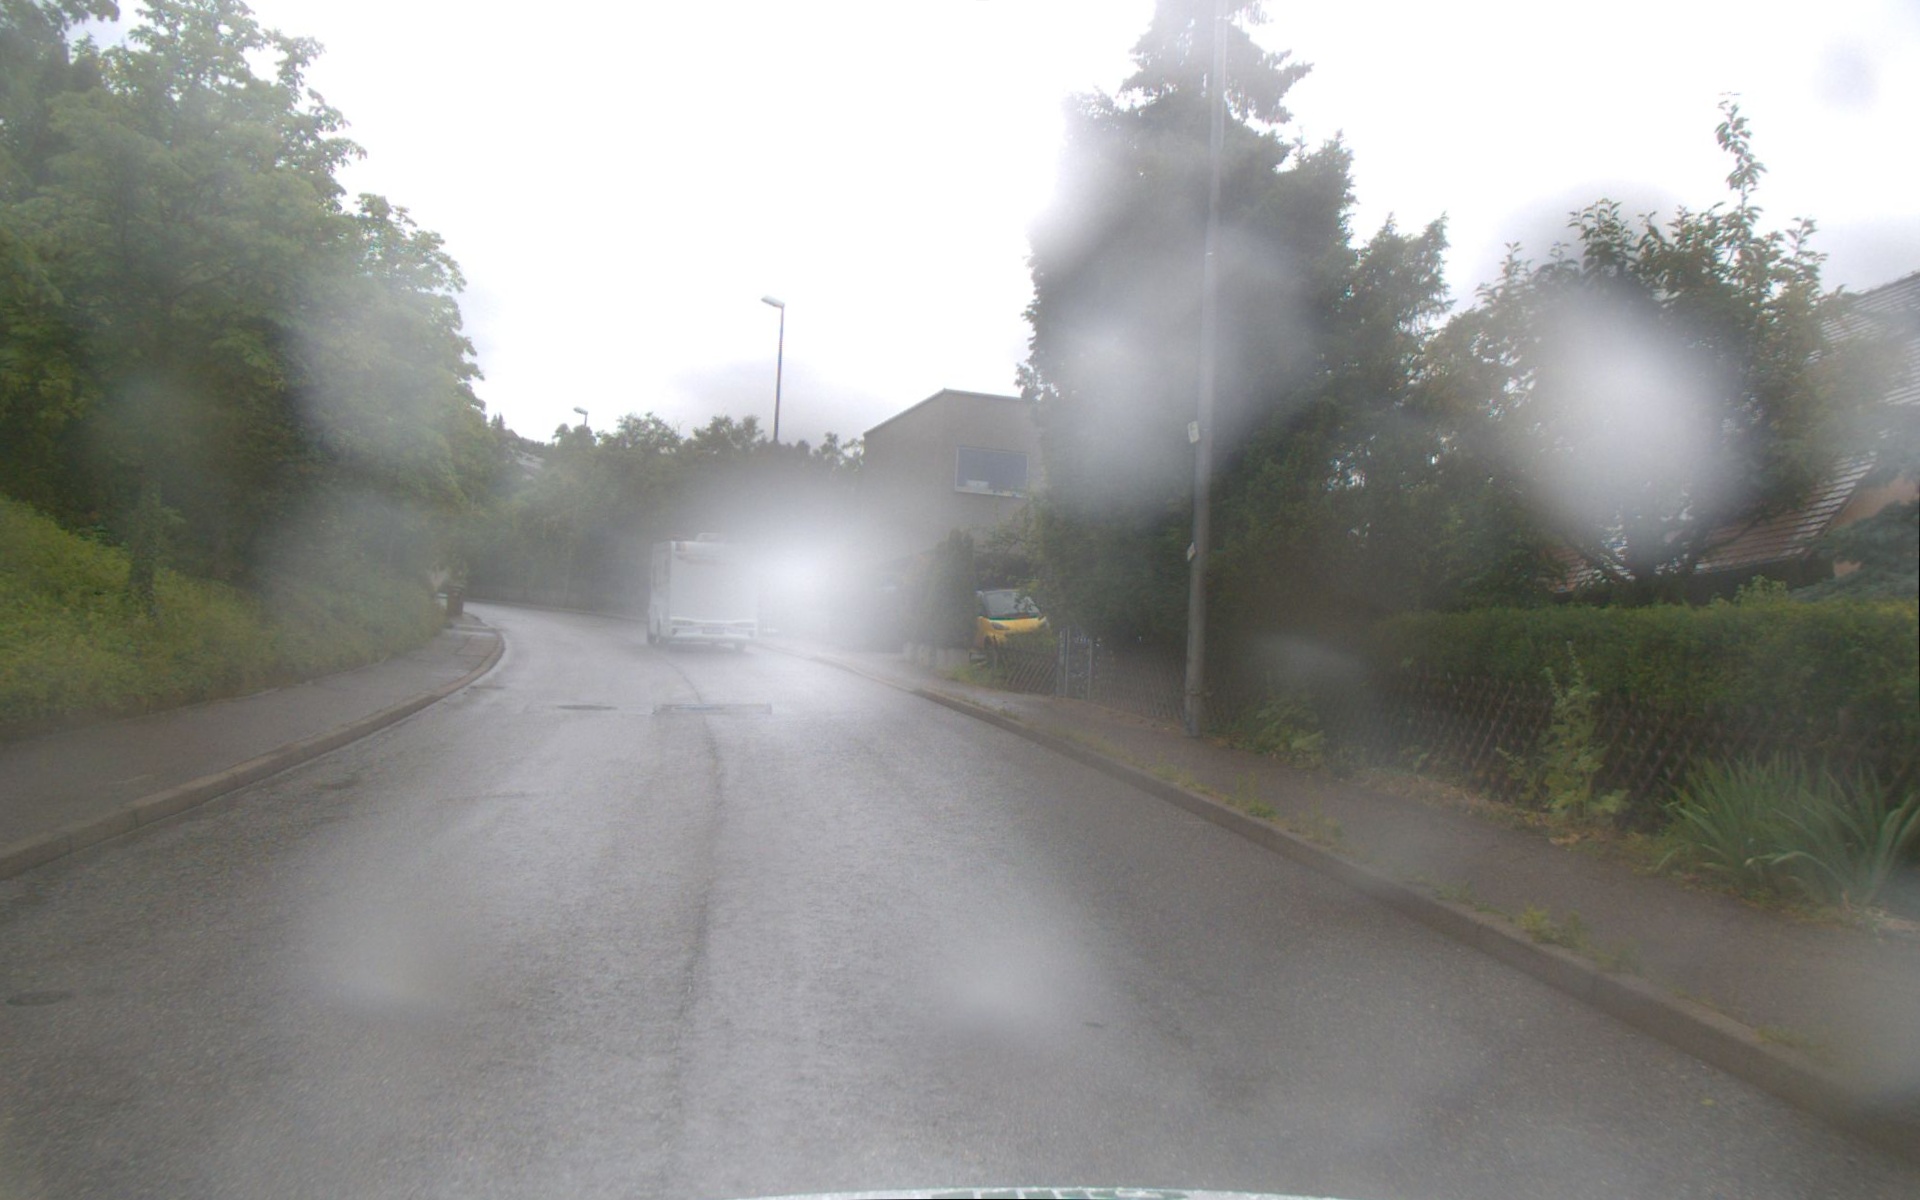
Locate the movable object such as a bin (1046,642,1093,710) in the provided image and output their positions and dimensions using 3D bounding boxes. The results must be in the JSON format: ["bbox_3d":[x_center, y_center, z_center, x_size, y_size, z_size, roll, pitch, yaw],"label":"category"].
[{"bbox_3d":[1.688,1.176,25.618,0.496,0.986,0.592,5,-1,-13],"label":"movable object such as a bin"}]

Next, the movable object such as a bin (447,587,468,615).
[{"bbox_3d":[-17.662,0.030,58.137,0.638,0.927,0.669,3,0,-20],"label":"movable object such as a bin"}]

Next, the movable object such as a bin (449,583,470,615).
[{"bbox_3d":[-17.833,-0.040,58.954,0.638,1.099,0.669,3,0,-20],"label":"movable object such as a bin"}]

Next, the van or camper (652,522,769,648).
[{"bbox_3d":[-6.572,-0.333,42.937,2.496,2.976,5.927,1,-1,-13],"label":"van or camper"}]

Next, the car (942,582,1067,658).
[{"bbox_3d":[0.939,0.433,36.805,1.604,1.519,3.407,-4,1,-20],"label":"car"}]

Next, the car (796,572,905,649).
[{"bbox_3d":[-3.203,0.362,47.308,1.963,1.975,4.747,2,-3,-18],"label":"car"}]

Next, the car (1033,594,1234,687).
[{"bbox_3d":[3.393,0.830,32.076,3.734,1.690,1.752,2,-4,-38],"label":"car"}]
